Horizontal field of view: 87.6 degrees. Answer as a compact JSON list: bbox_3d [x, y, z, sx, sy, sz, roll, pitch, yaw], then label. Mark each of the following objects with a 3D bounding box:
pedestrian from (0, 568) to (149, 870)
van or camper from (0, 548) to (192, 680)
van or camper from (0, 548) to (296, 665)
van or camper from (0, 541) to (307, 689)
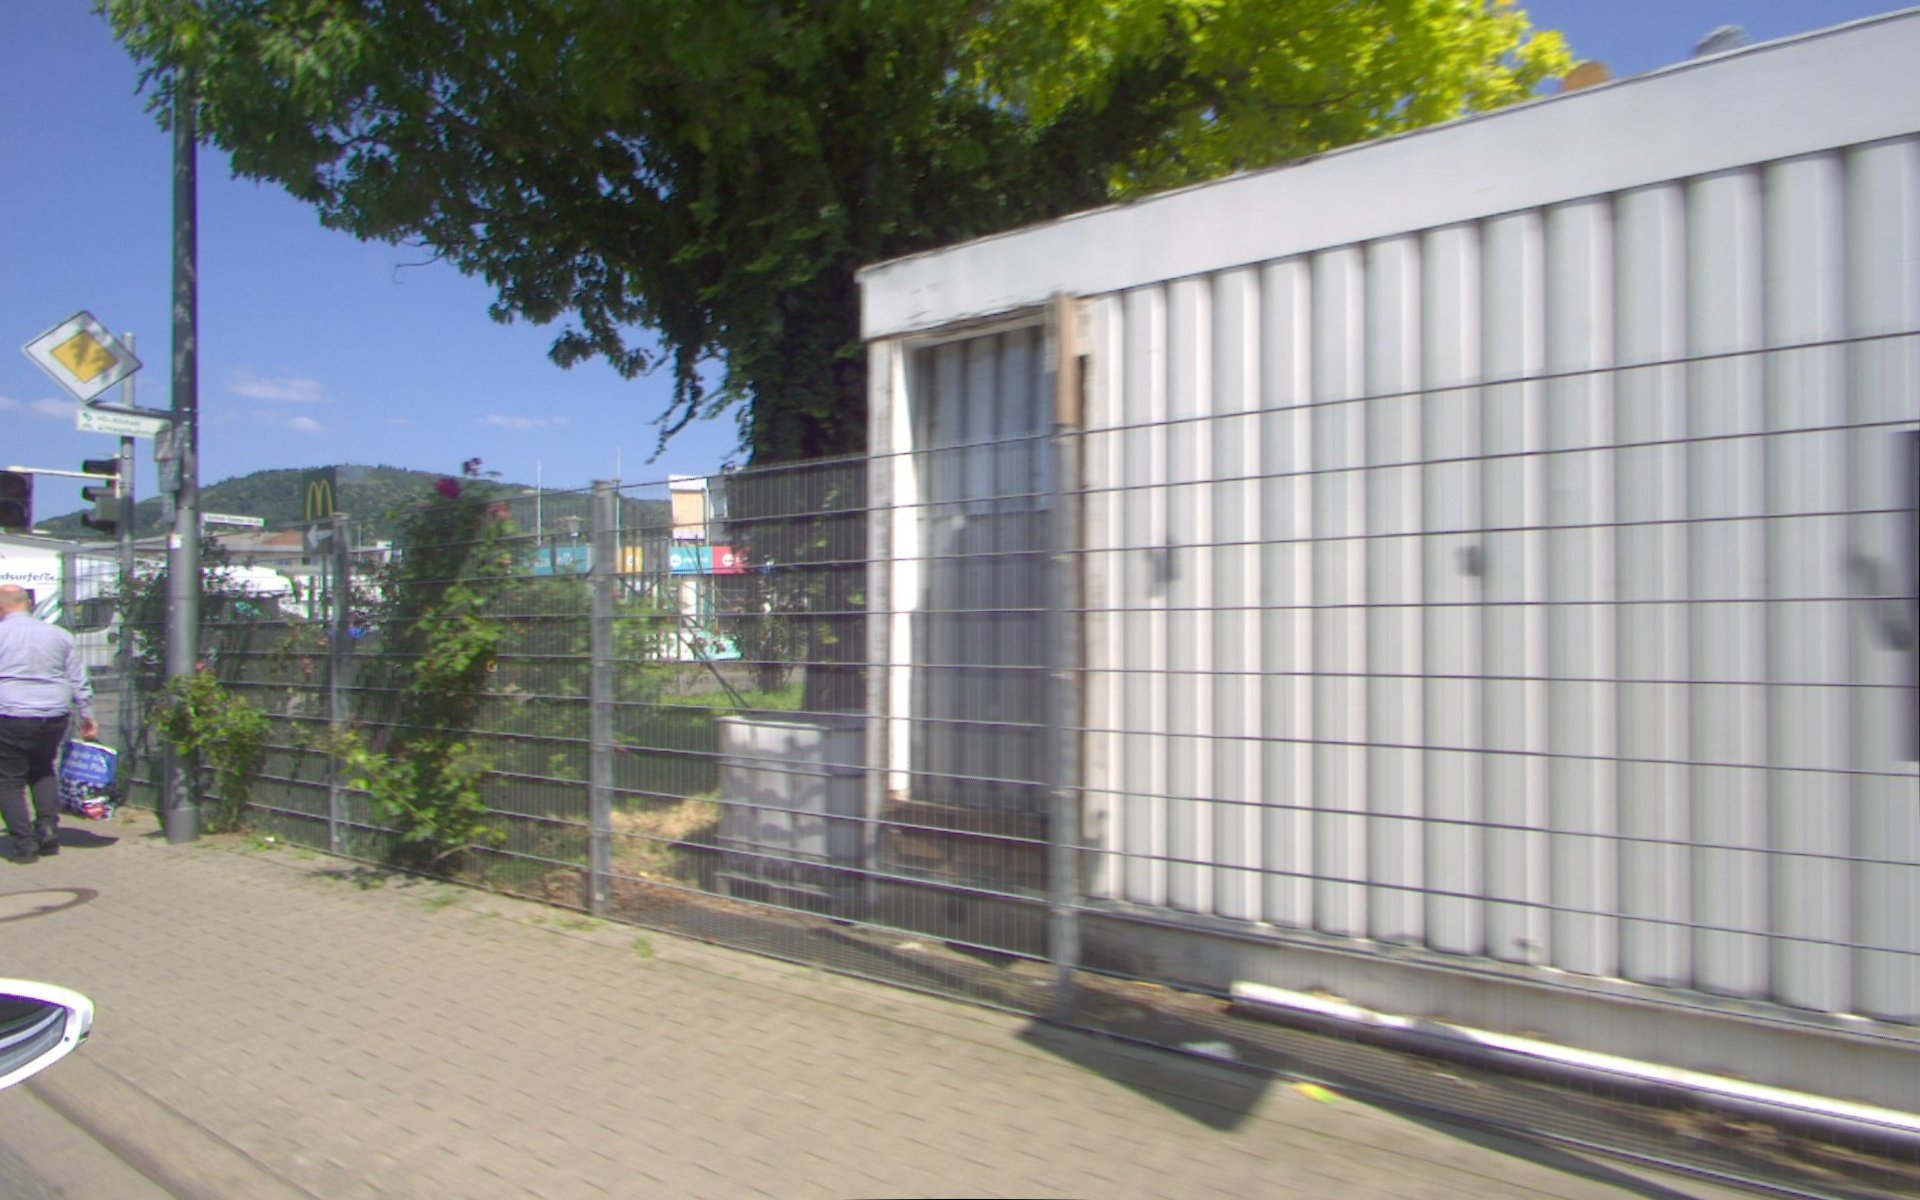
[{"bbox_3d":[-5.686,0.686,6.180,0.874,1.721,0.811,0,0,31],"label":"pedestrian"},{"bbox_3d":[-20.932,0.305,22.250,2.062,2.810,5.795,1,-1,35],"label":"van or camper"},{"bbox_3d":[-23.571,0.206,28.884,2.302,2.985,7.046,-1,-1,33],"label":"van or camper"},{"bbox_3d":[-17.751,0.370,21.808,2.021,2.850,5.490,2,-1,37],"label":"van or camper"}]
